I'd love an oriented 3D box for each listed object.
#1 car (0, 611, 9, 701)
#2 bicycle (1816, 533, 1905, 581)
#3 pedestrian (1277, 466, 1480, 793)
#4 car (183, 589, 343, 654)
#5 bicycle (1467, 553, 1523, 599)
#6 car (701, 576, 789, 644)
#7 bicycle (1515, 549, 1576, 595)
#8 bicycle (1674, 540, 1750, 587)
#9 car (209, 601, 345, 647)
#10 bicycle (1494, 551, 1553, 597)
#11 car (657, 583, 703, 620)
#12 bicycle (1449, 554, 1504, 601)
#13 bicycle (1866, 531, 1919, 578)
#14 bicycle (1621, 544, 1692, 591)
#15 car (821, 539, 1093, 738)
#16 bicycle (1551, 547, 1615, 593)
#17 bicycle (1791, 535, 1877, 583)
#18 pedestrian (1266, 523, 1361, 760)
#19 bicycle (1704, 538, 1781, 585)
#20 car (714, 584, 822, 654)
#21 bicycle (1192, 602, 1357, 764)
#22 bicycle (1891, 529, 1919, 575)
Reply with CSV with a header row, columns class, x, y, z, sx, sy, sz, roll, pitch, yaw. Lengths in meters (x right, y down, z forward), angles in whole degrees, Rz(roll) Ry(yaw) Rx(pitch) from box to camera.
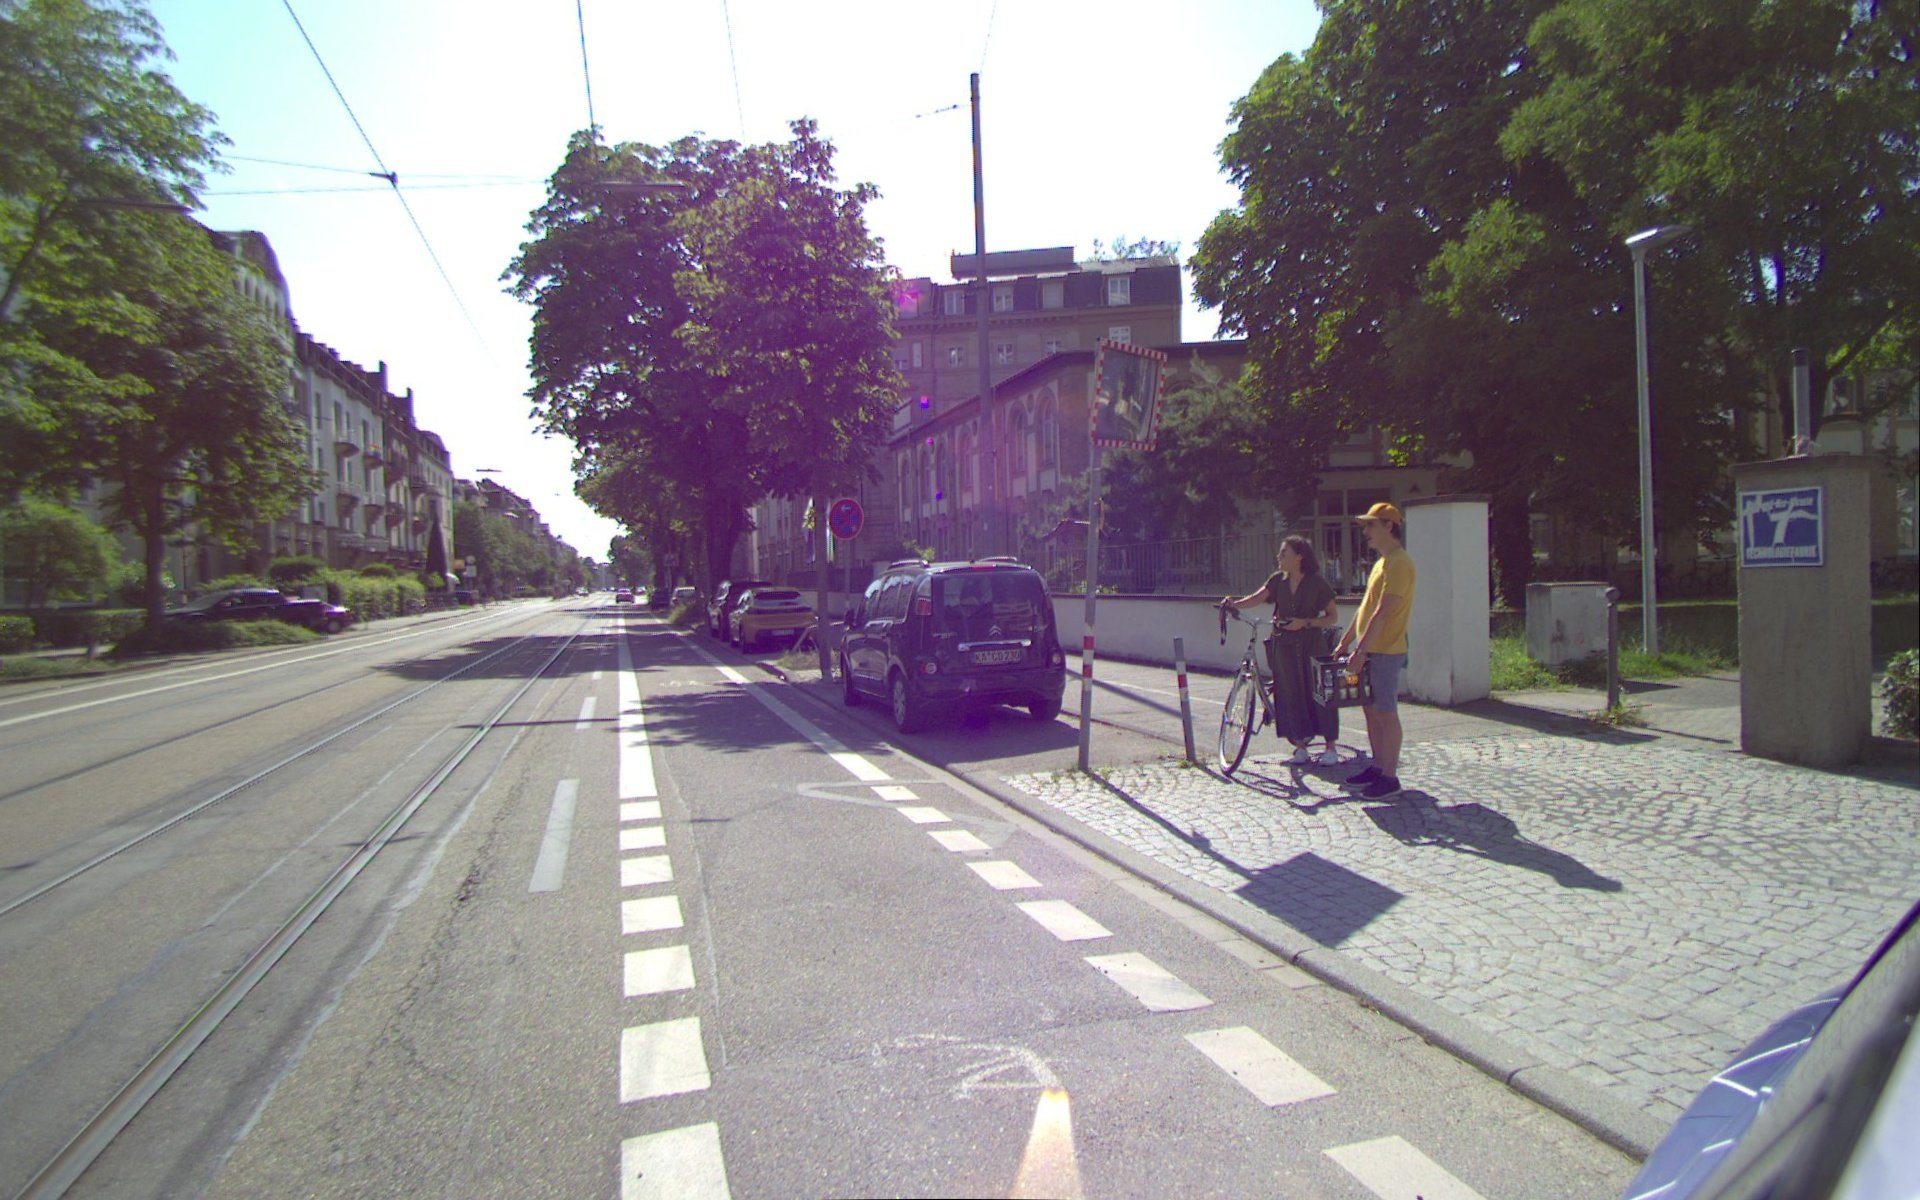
class,x,y,z,sx,sy,sz,roll,pitch,yaw
car,-17.530,1.034,15.580,1.542,1.504,3.913,-2,1,25
bicycle,23.354,-1.101,26.300,0.578,1.176,2.099,-2,1,6
pedestrian,2.599,0.165,6.375,0.837,1.888,0.830,-2,1,-3
car,-23.102,0.670,33.745,1.973,1.883,3.978,-2,1,18
bicycle,14.538,-0.658,27.544,0.578,1.176,2.099,-2,1,6
car,-6.186,0.236,28.830,1.818,1.700,4.008,-3,1,-20
bicycle,15.878,-0.760,27.494,0.578,1.176,2.099,-2,1,6
bicycle,19.872,-0.959,26.795,0.578,1.176,2.099,-2,1,6
car,-26.695,0.901,39.703,1.979,1.526,3.967,-2,1,25
bicycle,15.259,-0.703,27.448,0.578,1.176,2.099,-2,1,6
car,-14.042,0.042,50.641,1.818,1.700,4.008,-3,1,-20
bicycle,13.850,-0.606,27.187,0.578,1.176,2.099,-2,1,6
bicycle,24.406,-1.173,26.056,0.578,1.176,1.919,-2,1,6
bicycle,18.550,-0.872,27.003,0.578,1.176,2.099,-2,1,6
car,-0.251,0.306,11.149,1.818,1.704,4.008,-3,1,-17
bicycle,16.778,-0.806,27.314,0.578,1.176,2.099,-2,1,6
bicycle,22.696,-1.044,26.328,0.578,1.176,2.099,-2,1,6
pedestrian,2.548,0.281,7.300,0.445,1.641,0.422,-3,1,-37
bicycle,20.630,-1.002,26.734,0.578,1.176,2.099,-2,1,6
car,-4.627,0.390,23.920,1.818,1.429,4.008,-3,1,-20
bicycle,2.398,0.578,7.632,1.485,1.054,0.363,-3,1,-37
bicycle,25.141,-1.249,26.033,0.578,1.176,2.099,-2,1,6
